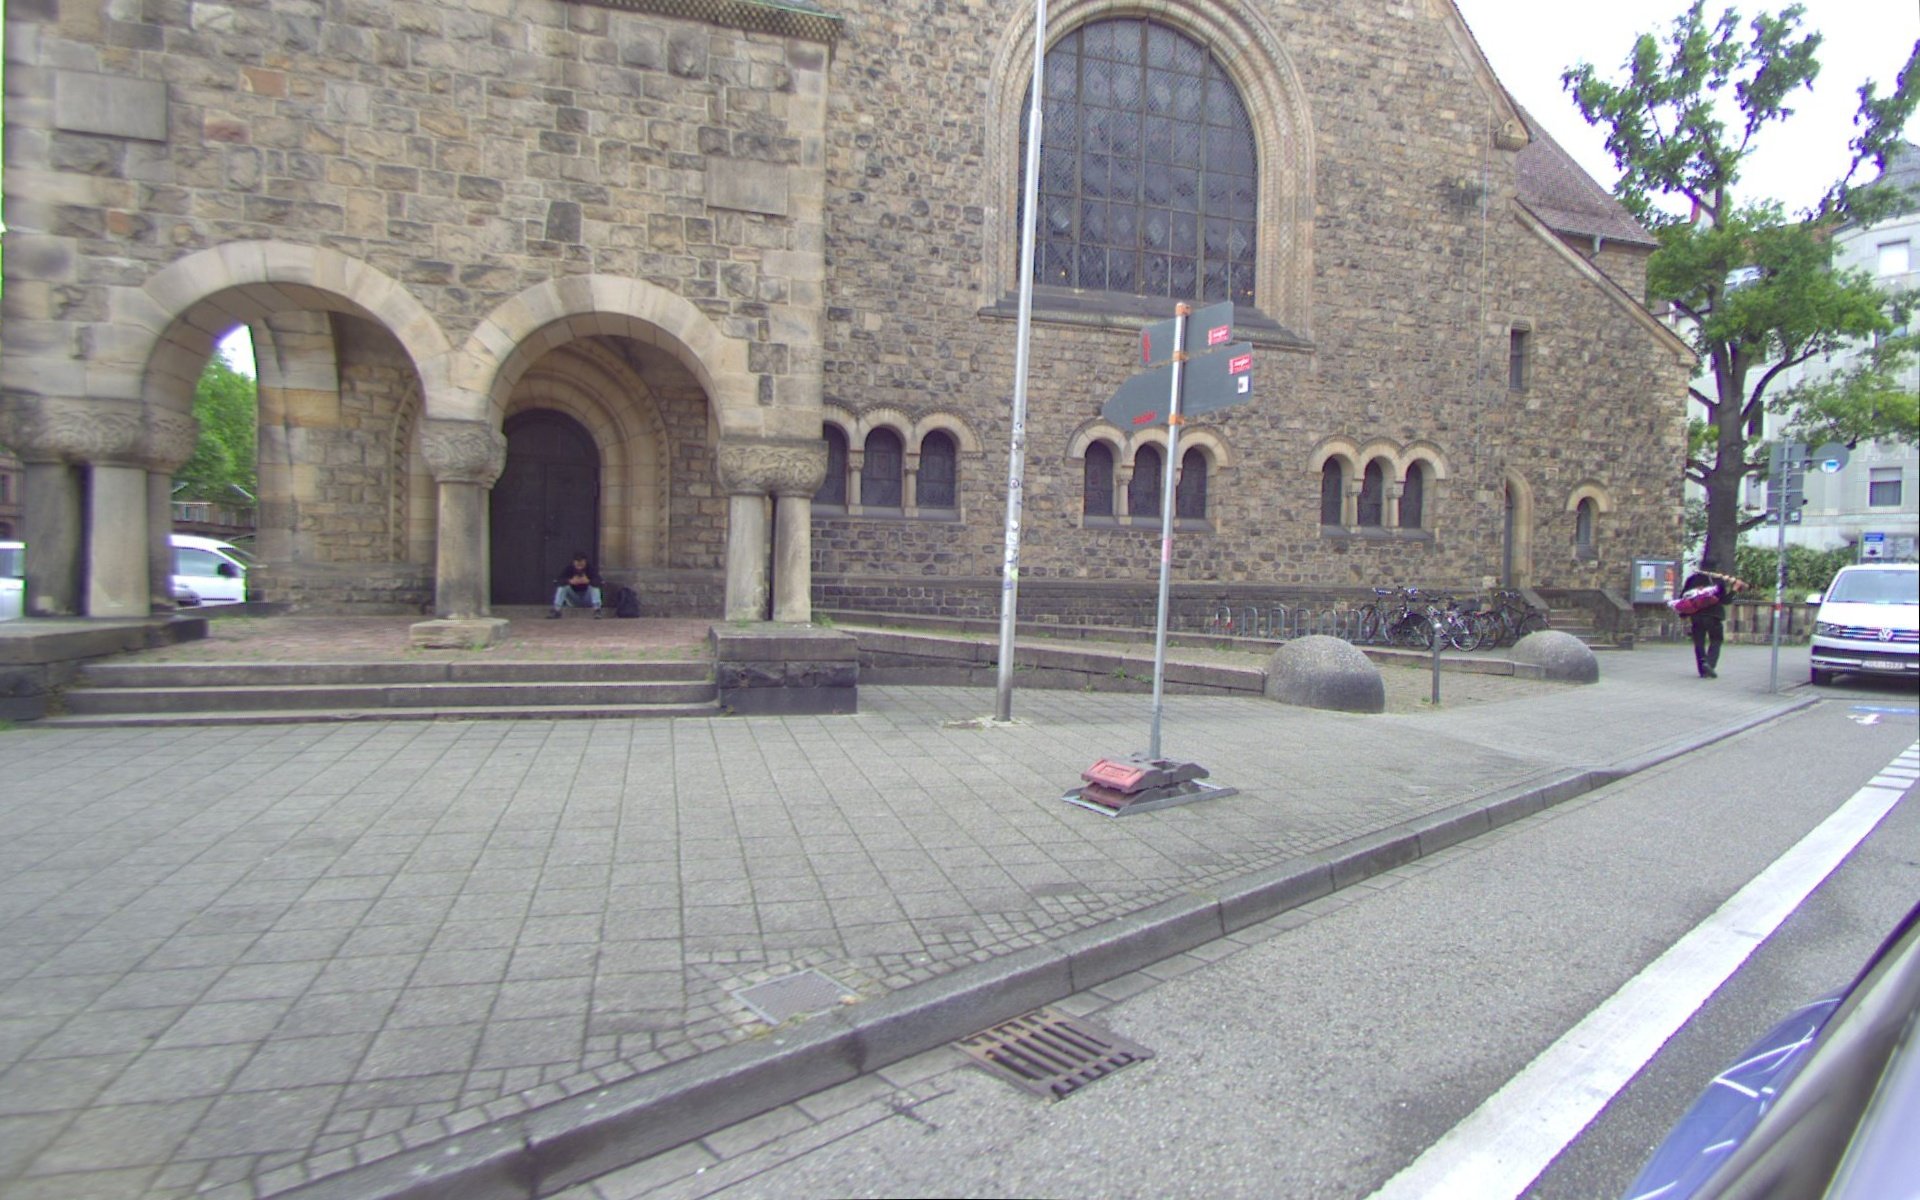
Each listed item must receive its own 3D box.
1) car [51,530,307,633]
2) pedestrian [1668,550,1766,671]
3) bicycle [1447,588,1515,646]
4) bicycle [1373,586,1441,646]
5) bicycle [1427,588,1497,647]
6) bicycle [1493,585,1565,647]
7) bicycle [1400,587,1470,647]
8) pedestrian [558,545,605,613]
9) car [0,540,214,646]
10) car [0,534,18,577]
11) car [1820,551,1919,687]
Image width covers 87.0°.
[{"bbox_3d":[-14.449,-0.342,18.932,3.394,1.815,1.691,0,1,-14],"label":"car"},{"bbox_3d":[11.914,0.144,15.937,0.998,1.831,0.818,-2,2,-19],"label":"pedestrian"},{"bbox_3d":[10.214,0.310,19.870,0.304,1.073,1.347,1,1,-18],"label":"bicycle"},{"bbox_3d":[8.429,0.289,19.147,0.304,1.073,1.387,1,1,-18],"label":"bicycle"},{"bbox_3d":[9.674,0.314,19.539,0.304,1.073,1.387,1,1,-18],"label":"bicycle"},{"bbox_3d":[11.172,0.294,19.902,0.304,1.161,1.347,1,1,-18],"label":"bicycle"},{"bbox_3d":[9.007,0.308,19.241,0.304,1.073,1.387,1,1,-18],"label":"bicycle"},{"bbox_3d":[-5.476,-0.305,14.676,0.602,0.963,0.675,1,1,-18],"label":"pedestrian"},{"bbox_3d":[-13.854,-0.123,15.621,3.394,1.549,1.622,0,2,-14],"label":"car"},{"bbox_3d":[-62.298,-2.773,61.789,2.212,2.762,7.084,0,1,12],"label":"car"},{"bbox_3d":[15.556,0.262,16.371,5.075,1.943,1.808,0,2,-42],"label":"car"}]
